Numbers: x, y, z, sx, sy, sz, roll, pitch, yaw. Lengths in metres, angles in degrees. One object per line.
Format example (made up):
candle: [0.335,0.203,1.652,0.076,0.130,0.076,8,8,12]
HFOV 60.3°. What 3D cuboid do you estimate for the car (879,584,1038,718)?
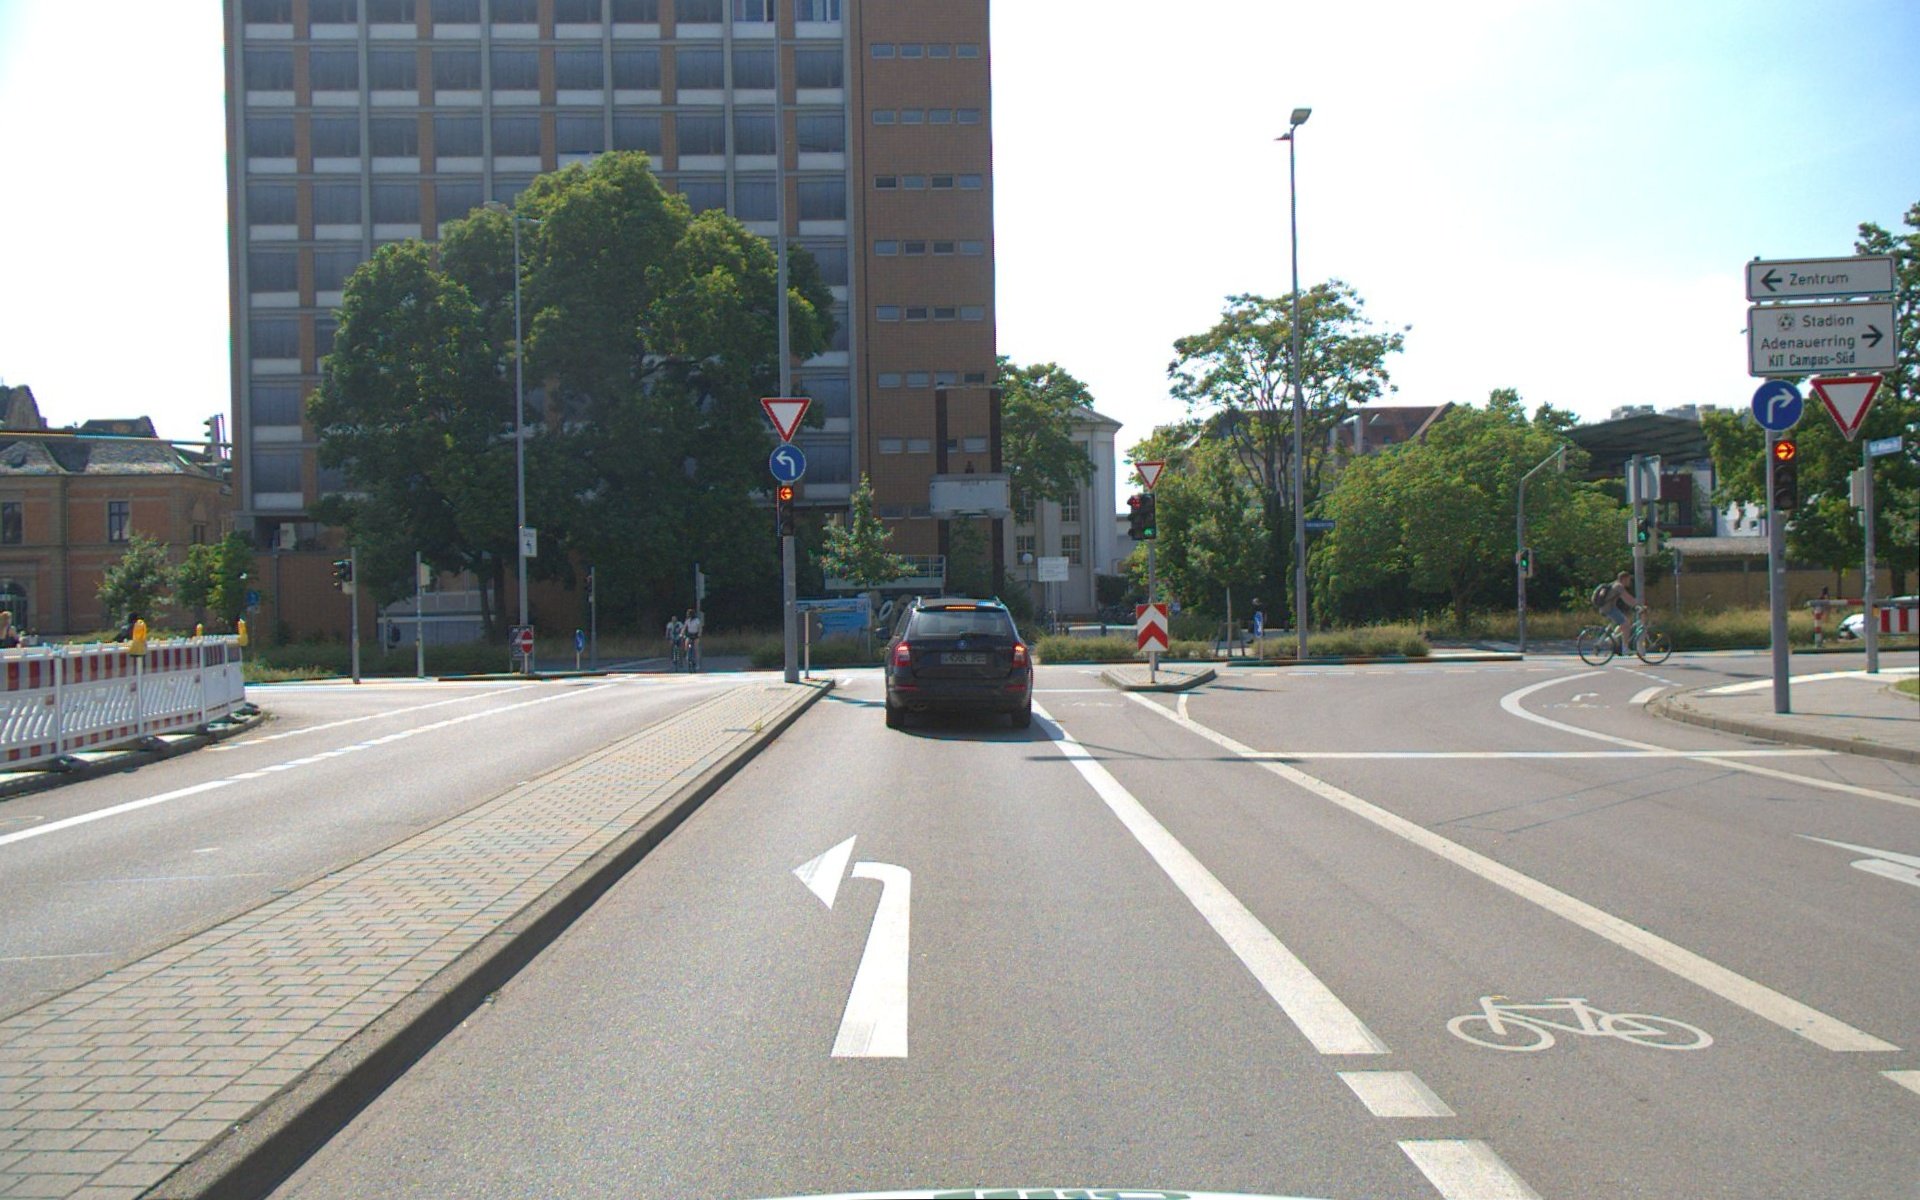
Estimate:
car: [-0.028,0.566,20.102,1.743,1.468,3.817,0,0,-1]

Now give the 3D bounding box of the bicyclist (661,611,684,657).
bicyclist: [-9.203,1.092,52.986,0.528,1.441,1.029,-2,-1,-3]

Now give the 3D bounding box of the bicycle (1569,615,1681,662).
bicycle: [12.365,0.721,30.788,1.849,0.806,0.561,-1,1,11]

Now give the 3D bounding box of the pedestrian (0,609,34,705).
pedestrian: [-18.181,1.100,31.485,0.724,1.783,1.105,-2,-2,-17]

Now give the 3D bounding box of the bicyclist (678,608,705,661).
bicyclist: [-7.760,0.990,47.860,0.606,1.468,0.919,-4,0,-6]

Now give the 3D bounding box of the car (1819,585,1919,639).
car: [27.546,0.340,48.219,3.906,1.490,1.999,-2,-1,-2]

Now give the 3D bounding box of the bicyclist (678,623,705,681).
bicyclist: [-7.671,1.473,47.269,0.606,1.609,1.012,-4,0,-6]

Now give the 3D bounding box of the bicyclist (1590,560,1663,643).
bicyclist: [12.394,0.030,30.791,1.140,1.500,0.564,-2,0,11]

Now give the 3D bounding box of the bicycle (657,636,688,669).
bicycle: [-9.196,1.666,52.949,0.690,0.994,2.029,-2,0,-3]

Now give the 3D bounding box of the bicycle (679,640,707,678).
bicycle: [-7.716,1.692,47.860,0.606,0.977,1.965,-4,0,-6]

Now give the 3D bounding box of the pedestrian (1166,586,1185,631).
pedestrian: [9.360,0.371,71.932,0.624,1.907,0.796,-3,0,-1]

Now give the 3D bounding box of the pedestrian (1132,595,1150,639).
pedestrian: [8.006,0.759,73.205,0.584,1.907,0.638,2,-2,22]

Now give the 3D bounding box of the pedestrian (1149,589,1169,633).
pedestrian: [8.793,0.485,72.966,0.777,1.907,0.639,0,-1,18]

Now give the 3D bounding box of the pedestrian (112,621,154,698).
pedestrian: [-16.604,1.182,33.200,0.621,1.518,0.614,-2,0,-17]
